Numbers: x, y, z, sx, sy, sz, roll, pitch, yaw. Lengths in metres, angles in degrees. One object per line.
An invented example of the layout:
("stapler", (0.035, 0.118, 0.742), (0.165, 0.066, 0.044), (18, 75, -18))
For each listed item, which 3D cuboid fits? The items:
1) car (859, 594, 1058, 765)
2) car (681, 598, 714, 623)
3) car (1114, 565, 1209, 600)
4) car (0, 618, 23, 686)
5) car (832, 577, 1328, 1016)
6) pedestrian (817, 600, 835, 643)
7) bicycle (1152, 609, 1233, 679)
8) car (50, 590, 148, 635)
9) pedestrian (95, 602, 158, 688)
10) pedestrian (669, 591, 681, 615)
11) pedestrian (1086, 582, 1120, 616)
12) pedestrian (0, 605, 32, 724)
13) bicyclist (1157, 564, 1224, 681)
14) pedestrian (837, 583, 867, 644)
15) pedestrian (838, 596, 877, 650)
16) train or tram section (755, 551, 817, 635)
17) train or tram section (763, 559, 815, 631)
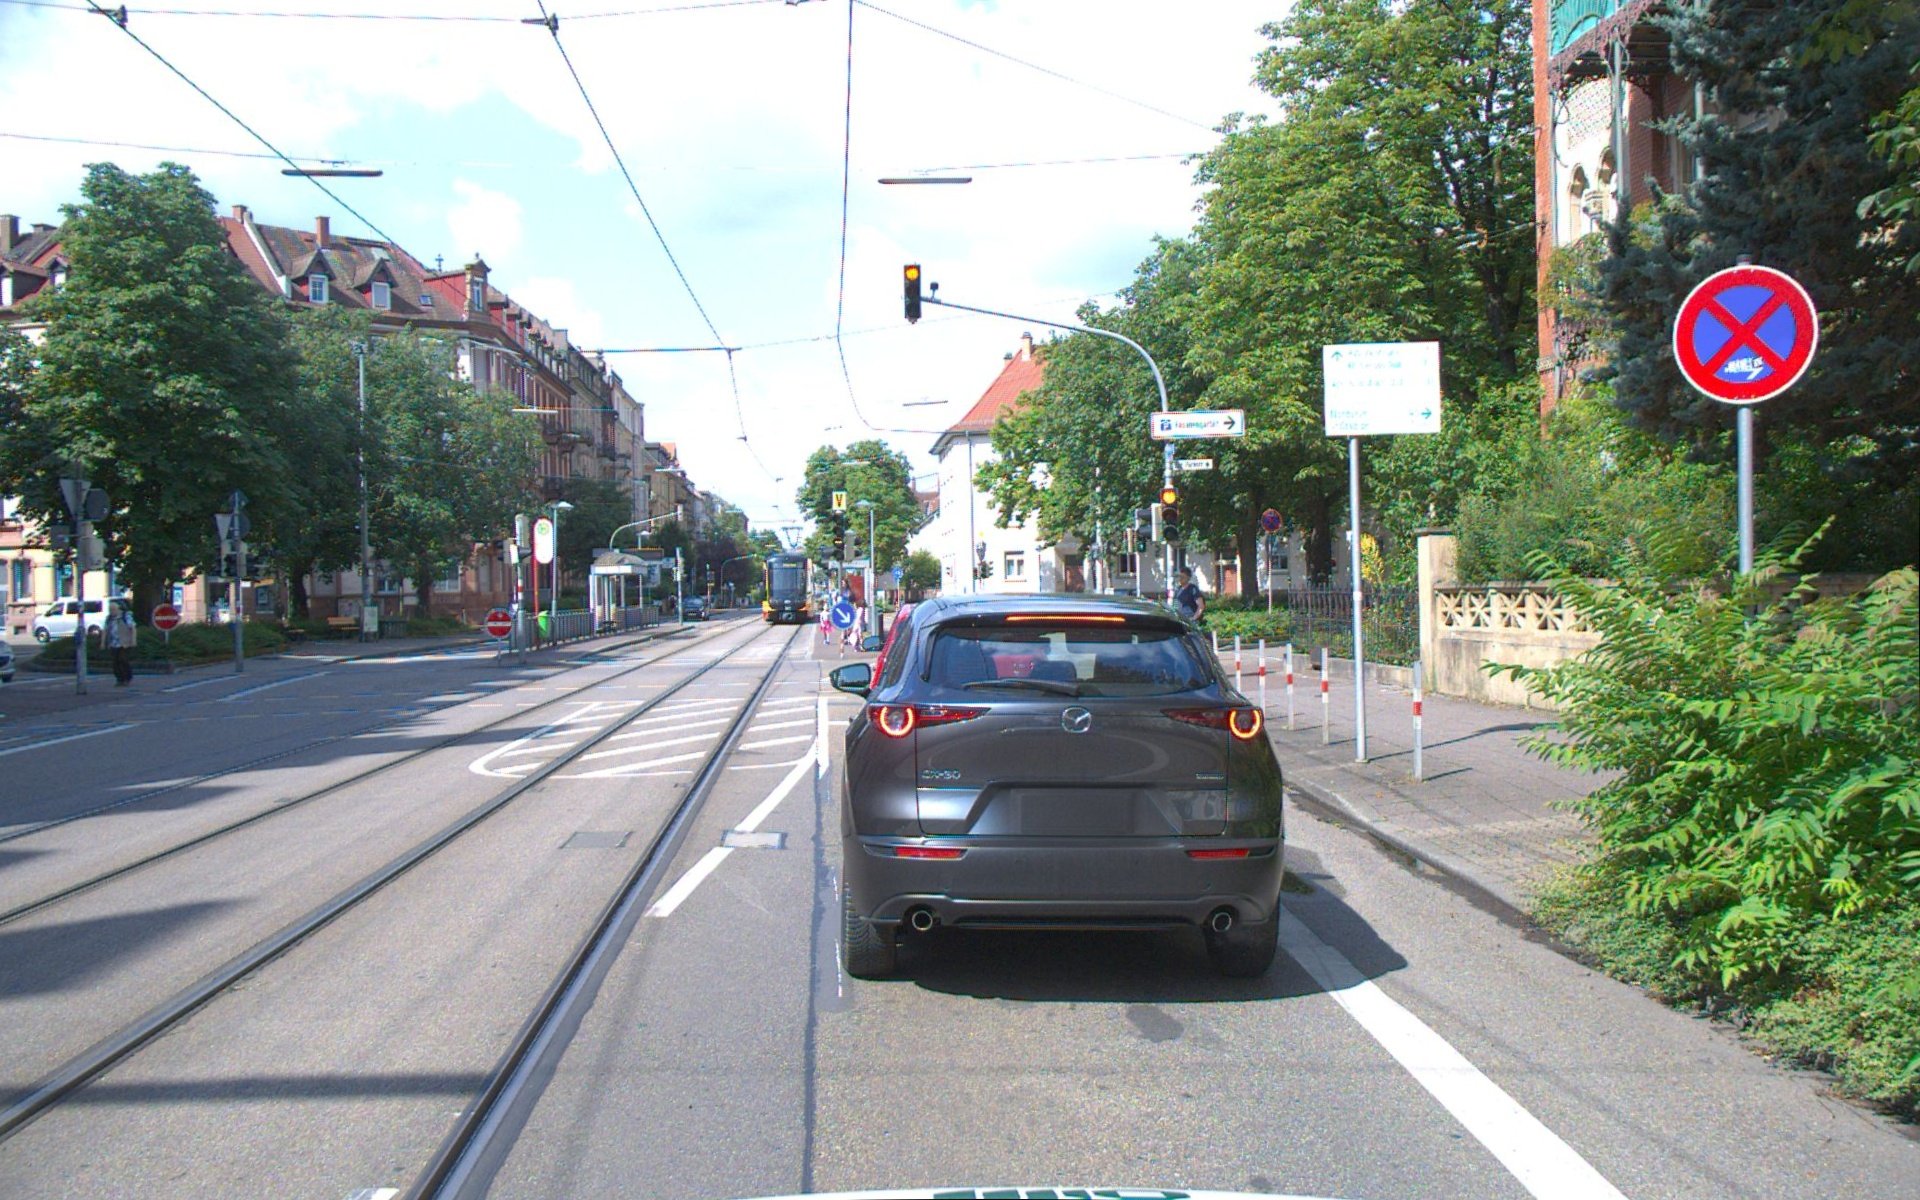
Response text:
("car", (-0.107, 0.690, 16.426), (1.740, 1.489, 3.840), (0, 0, -3))
("car", (-16.213, 0.633, 102.281), (1.592, 1.411, 3.434), (-3, 1, -3))
("car", (9.567, -0.831, 78.716), (4.091, 1.536, 1.844), (-1, 2, 38))
("car", (-22.485, 1.169, 36.647), (3.800, 1.445, 1.713), (-1, 0, 39))
("car", (0.415, 0.706, 7.892), (1.746, 1.540, 3.999), (1, 0, -1))
("pedestrian", (-3.579, 0.570, 44.183), (0.414, 1.127, 0.438), (-3, 0, -7))
("bicycle", (3.809, 0.702, 26.995), (0.382, 1.053, 1.836), (-1, 1, 39))
("car", (-39.976, 0.585, 76.803), (3.853, 2.023, 1.857), (-1, 0, 19))
("pedestrian", (-16.855, 0.902, 33.457), (0.837, 1.702, 0.821), (-1, 0, -3))
("pedestrian", (-20.753, 0.208, 120.342), (0.772, 1.718, 0.731), (-1, 0, -3))
("pedestrian", (5.701, -0.036, 65.913), (1.170, 1.291, 0.557), (-3, 0, -10))
("pedestrian", (-14.577, 0.948, 24.838), (0.741, 1.734, 0.873), (3, 0, -5))
("bicyclist", (3.748, 0.362, 26.909), (0.724, 1.851, 0.813), (-1, 0, -27))
("pedestrian", (-2.872, 0.346, 43.918), (0.714, 1.593, 0.797), (-1, 0, -9))
("pedestrian", (-2.586, 0.578, 41.819), (0.705, 1.326, 0.823), (-3, 0, -21))
("train or tram section", (-9.226, -0.268, 88.396), (2.939, 4.053, 13.792), (-1, -1, -5))
("train or tram section", (-10.489, -0.224, 102.143), (2.939, 4.053, 13.792), (-1, -1, -5))
